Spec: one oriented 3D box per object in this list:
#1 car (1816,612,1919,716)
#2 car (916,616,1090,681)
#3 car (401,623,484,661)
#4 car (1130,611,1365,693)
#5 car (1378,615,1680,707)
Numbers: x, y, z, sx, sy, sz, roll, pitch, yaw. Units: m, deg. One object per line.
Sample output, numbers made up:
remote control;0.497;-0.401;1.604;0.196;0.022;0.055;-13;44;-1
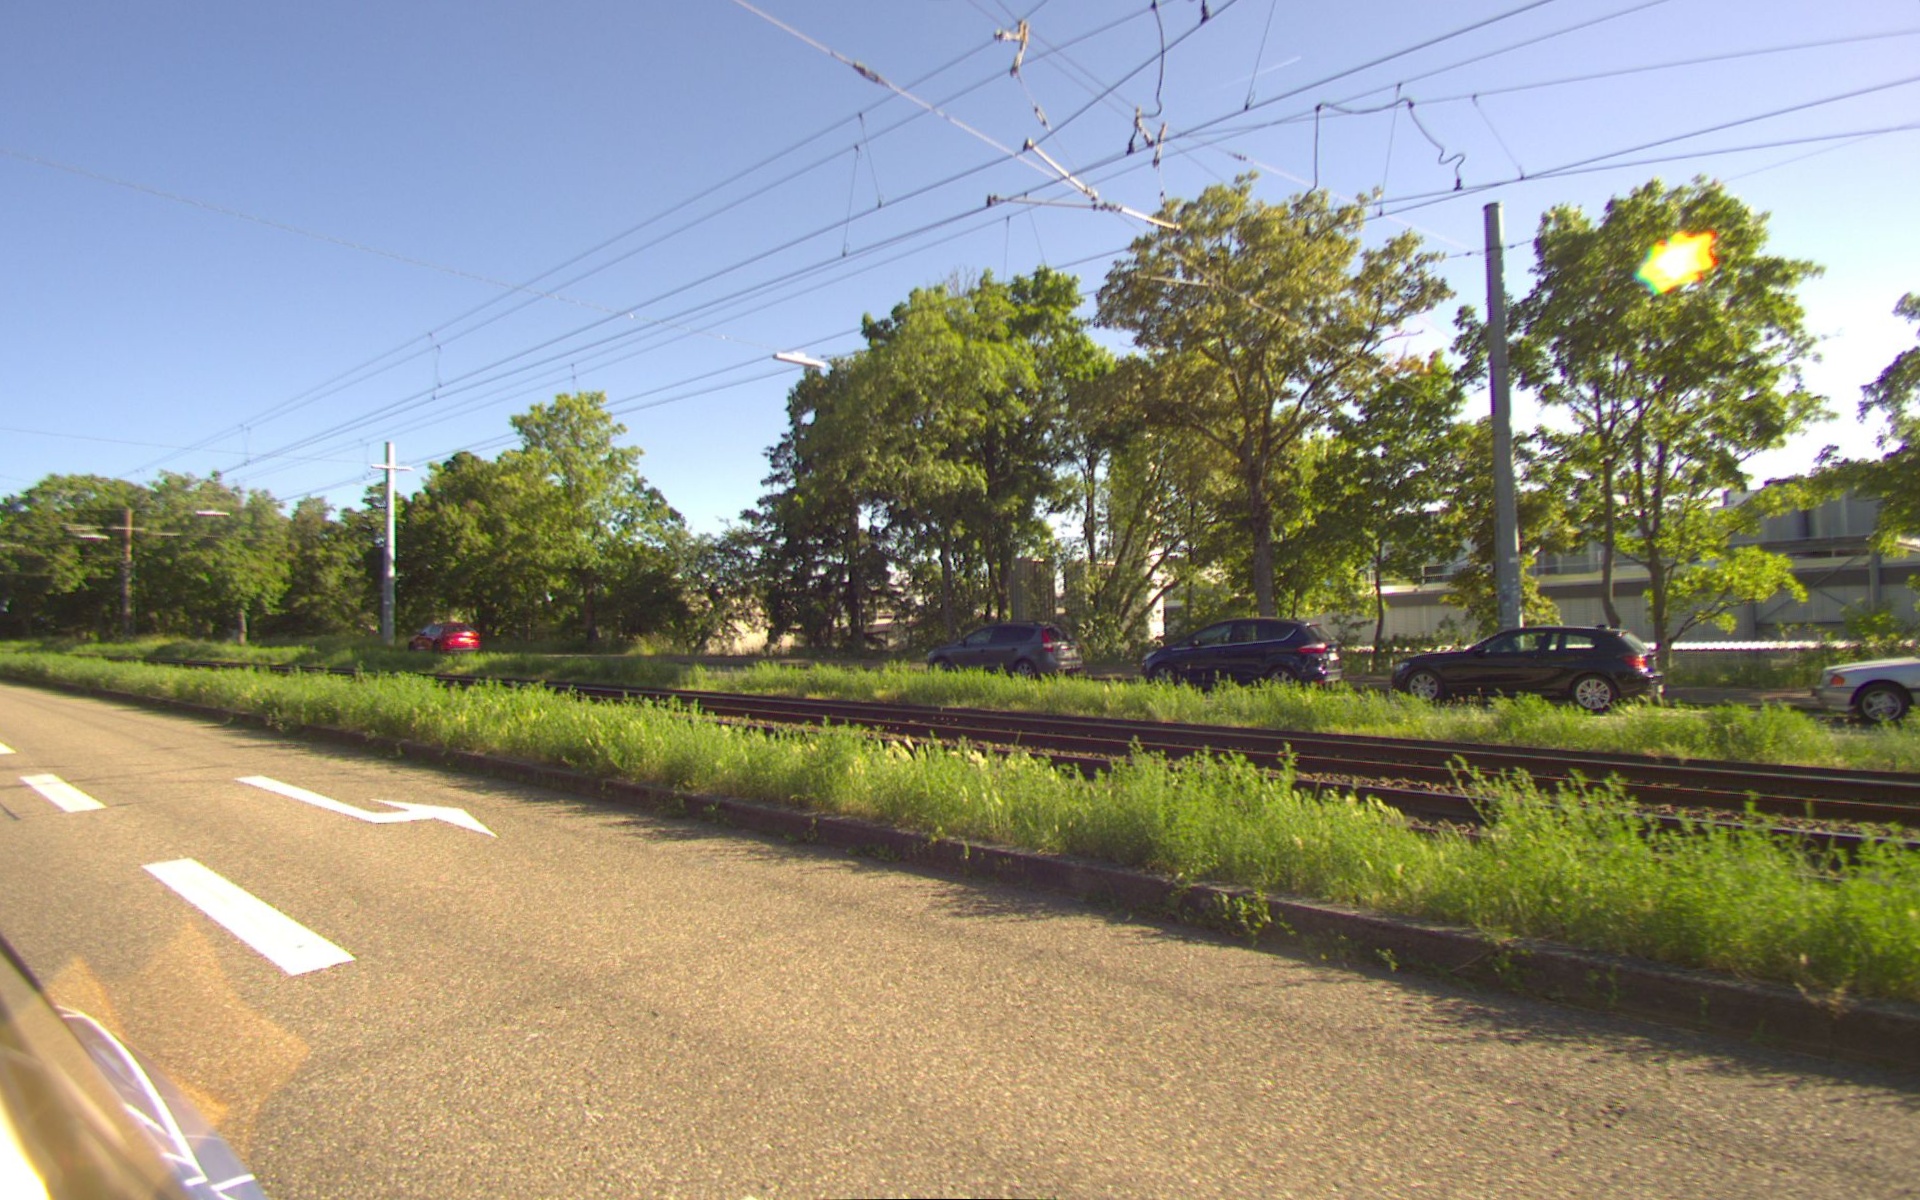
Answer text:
car;15.028;0.871;14.072;4.693;1.448;1.908;-2;-2;42
car;1.050;1.216;26.228;4.324;1.505;1.718;-1;0;40
car;-24.659;1.964;48.165;4.463;1.715;1.984;-2;-2;40
car;6.094;1.084;21.748;4.431;1.586;1.973;-2;-2;40
car;10.148;1.046;18.244;4.413;1.448;1.972;-2;-2;42
